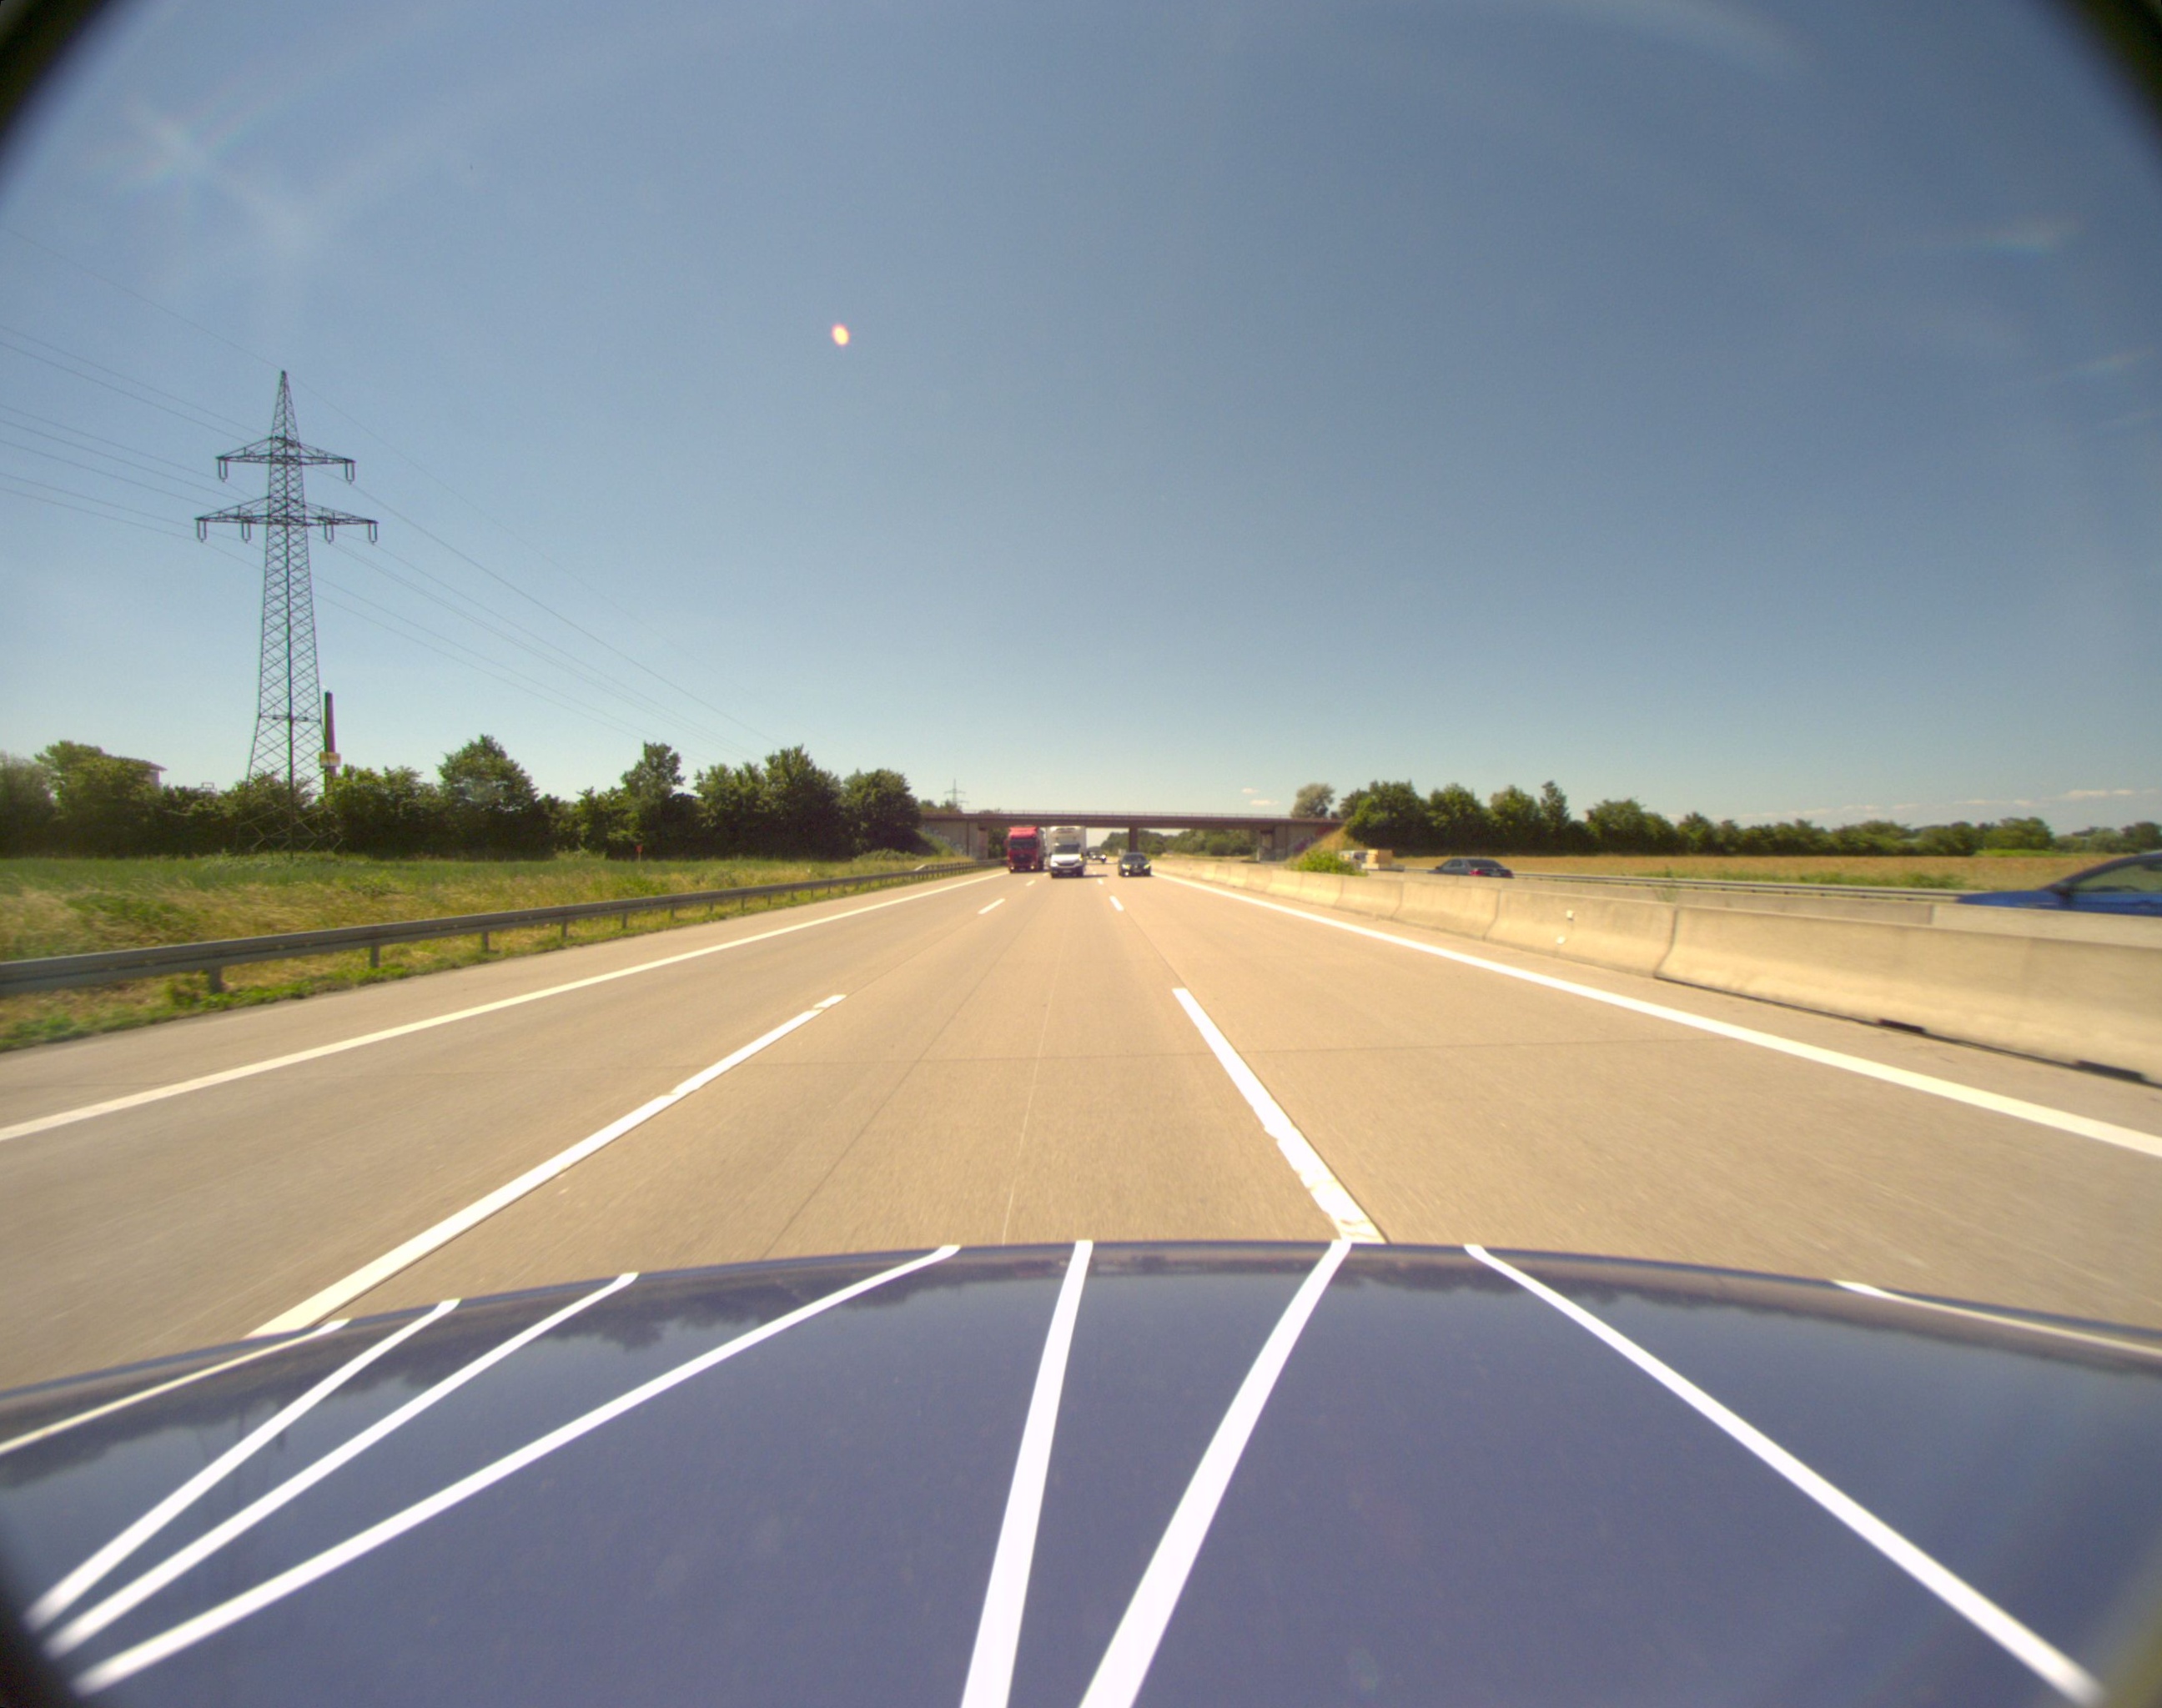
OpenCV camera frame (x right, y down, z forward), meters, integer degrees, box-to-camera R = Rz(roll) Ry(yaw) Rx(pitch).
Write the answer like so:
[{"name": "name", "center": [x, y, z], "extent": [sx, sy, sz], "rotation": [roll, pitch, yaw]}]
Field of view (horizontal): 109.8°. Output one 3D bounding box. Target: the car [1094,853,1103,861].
[{"name": "car", "center": [3.426, 0.578, 149.187], "extent": [1.558, 1.440, 3.776], "rotation": [-2, 1, 1]}]

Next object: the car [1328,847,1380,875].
[{"name": "car", "center": [20.386, 0.483, 57.046], "extent": [1.870, 1.933, 5.565], "rotation": [-2, 1, 0]}]

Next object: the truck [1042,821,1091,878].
[{"name": "truck", "center": [-0.835, -0.307, 49.744], "extent": [2.784, 3.328, 7.812], "rotation": [-2, 1, 1]}]

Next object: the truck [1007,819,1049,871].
[{"name": "truck", "center": [-4.703, -0.801, 69.305], "extent": [2.855, 4.298, 10.885], "rotation": [-2, 1, 0]}]

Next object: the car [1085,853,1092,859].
[{"name": "car", "center": [1.955, 0.427, 187.750], "extent": [1.683, 1.444, 3.564], "rotation": [-2, 1, 1]}]

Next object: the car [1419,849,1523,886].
[{"name": "car", "center": [16.293, 0.501, 32.089], "extent": [1.717, 1.351, 5.042], "rotation": [-2, 1, 0]}]

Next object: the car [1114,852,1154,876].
[{"name": "car", "center": [3.352, 0.584, 49.177], "extent": [1.999, 1.462, 6.346], "rotation": [0, 0, -1]}]

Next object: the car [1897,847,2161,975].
[{"name": "car", "center": [11.831, 0.575, 7.840], "extent": [1.776, 1.233, 4.676], "rotation": [-2, 1, 0]}]

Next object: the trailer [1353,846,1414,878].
[{"name": "trailer", "center": [20.375, 0.483, 51.453], "extent": [1.814, 2.031, 5.613], "rotation": [-2, 1, 0]}]
